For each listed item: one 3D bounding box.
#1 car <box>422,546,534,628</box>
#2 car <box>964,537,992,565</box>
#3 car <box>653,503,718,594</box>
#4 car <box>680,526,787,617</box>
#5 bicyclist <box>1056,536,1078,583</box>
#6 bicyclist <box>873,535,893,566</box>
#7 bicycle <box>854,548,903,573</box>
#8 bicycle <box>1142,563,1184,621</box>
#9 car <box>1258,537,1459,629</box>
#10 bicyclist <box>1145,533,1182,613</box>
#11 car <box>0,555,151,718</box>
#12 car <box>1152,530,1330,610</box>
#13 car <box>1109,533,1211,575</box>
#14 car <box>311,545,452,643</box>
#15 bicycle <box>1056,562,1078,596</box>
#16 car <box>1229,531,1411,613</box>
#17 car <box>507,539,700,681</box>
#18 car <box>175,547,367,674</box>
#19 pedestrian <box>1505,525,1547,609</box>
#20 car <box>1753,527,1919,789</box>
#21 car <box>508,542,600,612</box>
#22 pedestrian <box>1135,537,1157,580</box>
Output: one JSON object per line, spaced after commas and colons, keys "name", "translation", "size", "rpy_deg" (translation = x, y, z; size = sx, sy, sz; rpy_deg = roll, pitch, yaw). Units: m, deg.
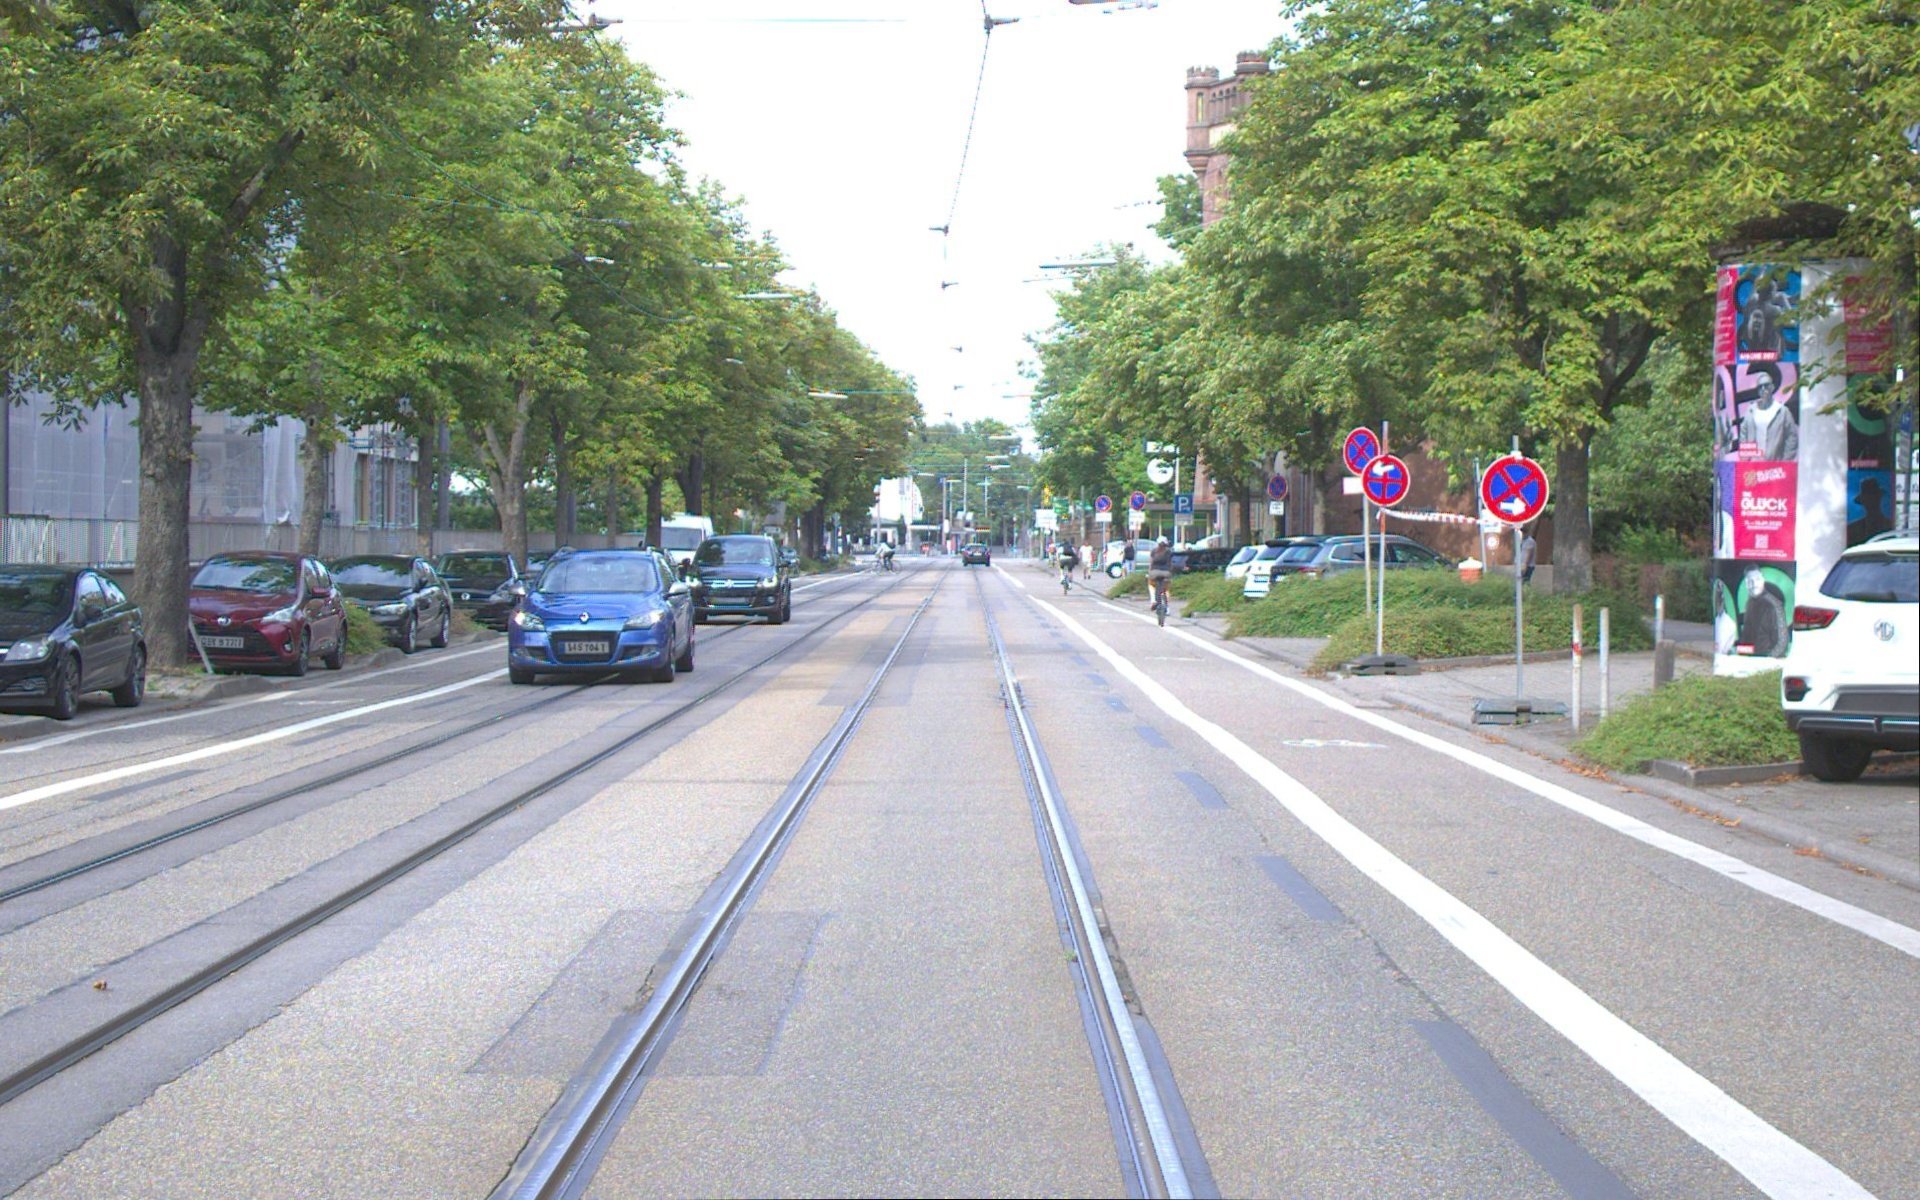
{"name": "car", "translation": [-8.721, -0.259, 62.413], "size": [1.590, 1.398, 3.963], "rpy_deg": [1, 1, -2]}
{"name": "car", "translation": [1.193, -3.295, 228.881], "size": [1.795, 1.817, 4.679], "rpy_deg": [1, 1, -1]}
{"name": "car", "translation": [-8.489, -1.603, 106.468], "size": [1.720, 2.695, 5.471], "rpy_deg": [1, 1, -2]}
{"name": "car", "translation": [-4.180, -0.556, 63.873], "size": [1.732, 1.623, 4.378], "rpy_deg": [-1, 1, -1]}
{"name": "bicyclist", "translation": [3.390, -1.286, 108.614], "size": [0.659, 1.491, 0.929], "rpy_deg": [1, 1, 1]}
{"name": "bicyclist", "translation": [-3.807, -2.448, 169.526], "size": [0.847, 1.499, 0.768], "rpy_deg": [1, 1, 8]}
{"name": "bicycle", "translation": [-4.020, -1.934, 169.566], "size": [2.275, 1.185, 0.768], "rpy_deg": [1, 1, 8]}
{"name": "bicycle", "translation": [3.765, -0.158, 63.829], "size": [0.592, 1.040, 1.978], "rpy_deg": [1, 1, -2]}
{"name": "car", "translation": [7.162, -0.304, 61.575], "size": [1.681, 1.597, 3.637], "rpy_deg": [1, 1, 45]}
{"name": "bicyclist", "translation": [3.773, -0.507, 63.825], "size": [0.592, 1.454, 0.875], "rpy_deg": [1, 1, -2]}
{"name": "car", "translation": [-8.798, 0.296, 32.243], "size": [1.590, 1.398, 3.963], "rpy_deg": [1, 1, -2]}
{"name": "car", "translation": [5.777, -0.616, 70.519], "size": [1.681, 1.597, 3.637], "rpy_deg": [1, 1, 45]}
{"name": "car", "translation": [8.406, -1.948, 144.731], "size": [3.986, 1.687, 2.000], "rpy_deg": [1, 1, -5]}
{"name": "car", "translation": [-8.727, -0.119, 52.101], "size": [1.590, 1.398, 3.963], "rpy_deg": [1, 1, -2]}
{"name": "bicycle", "translation": [3.377, -0.656, 108.620], "size": [0.663, 1.040, 1.841], "rpy_deg": [1, 1, 1]}
{"name": "car", "translation": [7.187, -0.555, 68.372], "size": [1.681, 1.597, 3.637], "rpy_deg": [1, 1, 45]}
{"name": "car", "translation": [-3.965, 0.066, 38.843], "size": [1.732, 1.491, 4.378], "rpy_deg": [0, 1, 0]}
{"name": "car", "translation": [-8.542, 0.095, 42.902], "size": [1.635, 1.491, 3.963], "rpy_deg": [1, 1, -1]}
{"name": "pedestrian", "translation": [12.360, -0.723, 75.062], "size": [0.786, 1.820, 0.661], "rpy_deg": [1, 1, 20]}
{"name": "car", "translation": [6.918, 0.347, 22.534], "size": [1.681, 1.597, 3.637], "rpy_deg": [1, 1, 45]}
{"name": "car", "translation": [-8.563, -0.506, 72.710], "size": [1.590, 1.398, 3.963], "rpy_deg": [1, 1, -2]}
{"name": "pedestrian", "translation": [7.809, -1.743, 144.418], "size": [0.748, 1.783, 0.730], "rpy_deg": [1, 0, 15]}
